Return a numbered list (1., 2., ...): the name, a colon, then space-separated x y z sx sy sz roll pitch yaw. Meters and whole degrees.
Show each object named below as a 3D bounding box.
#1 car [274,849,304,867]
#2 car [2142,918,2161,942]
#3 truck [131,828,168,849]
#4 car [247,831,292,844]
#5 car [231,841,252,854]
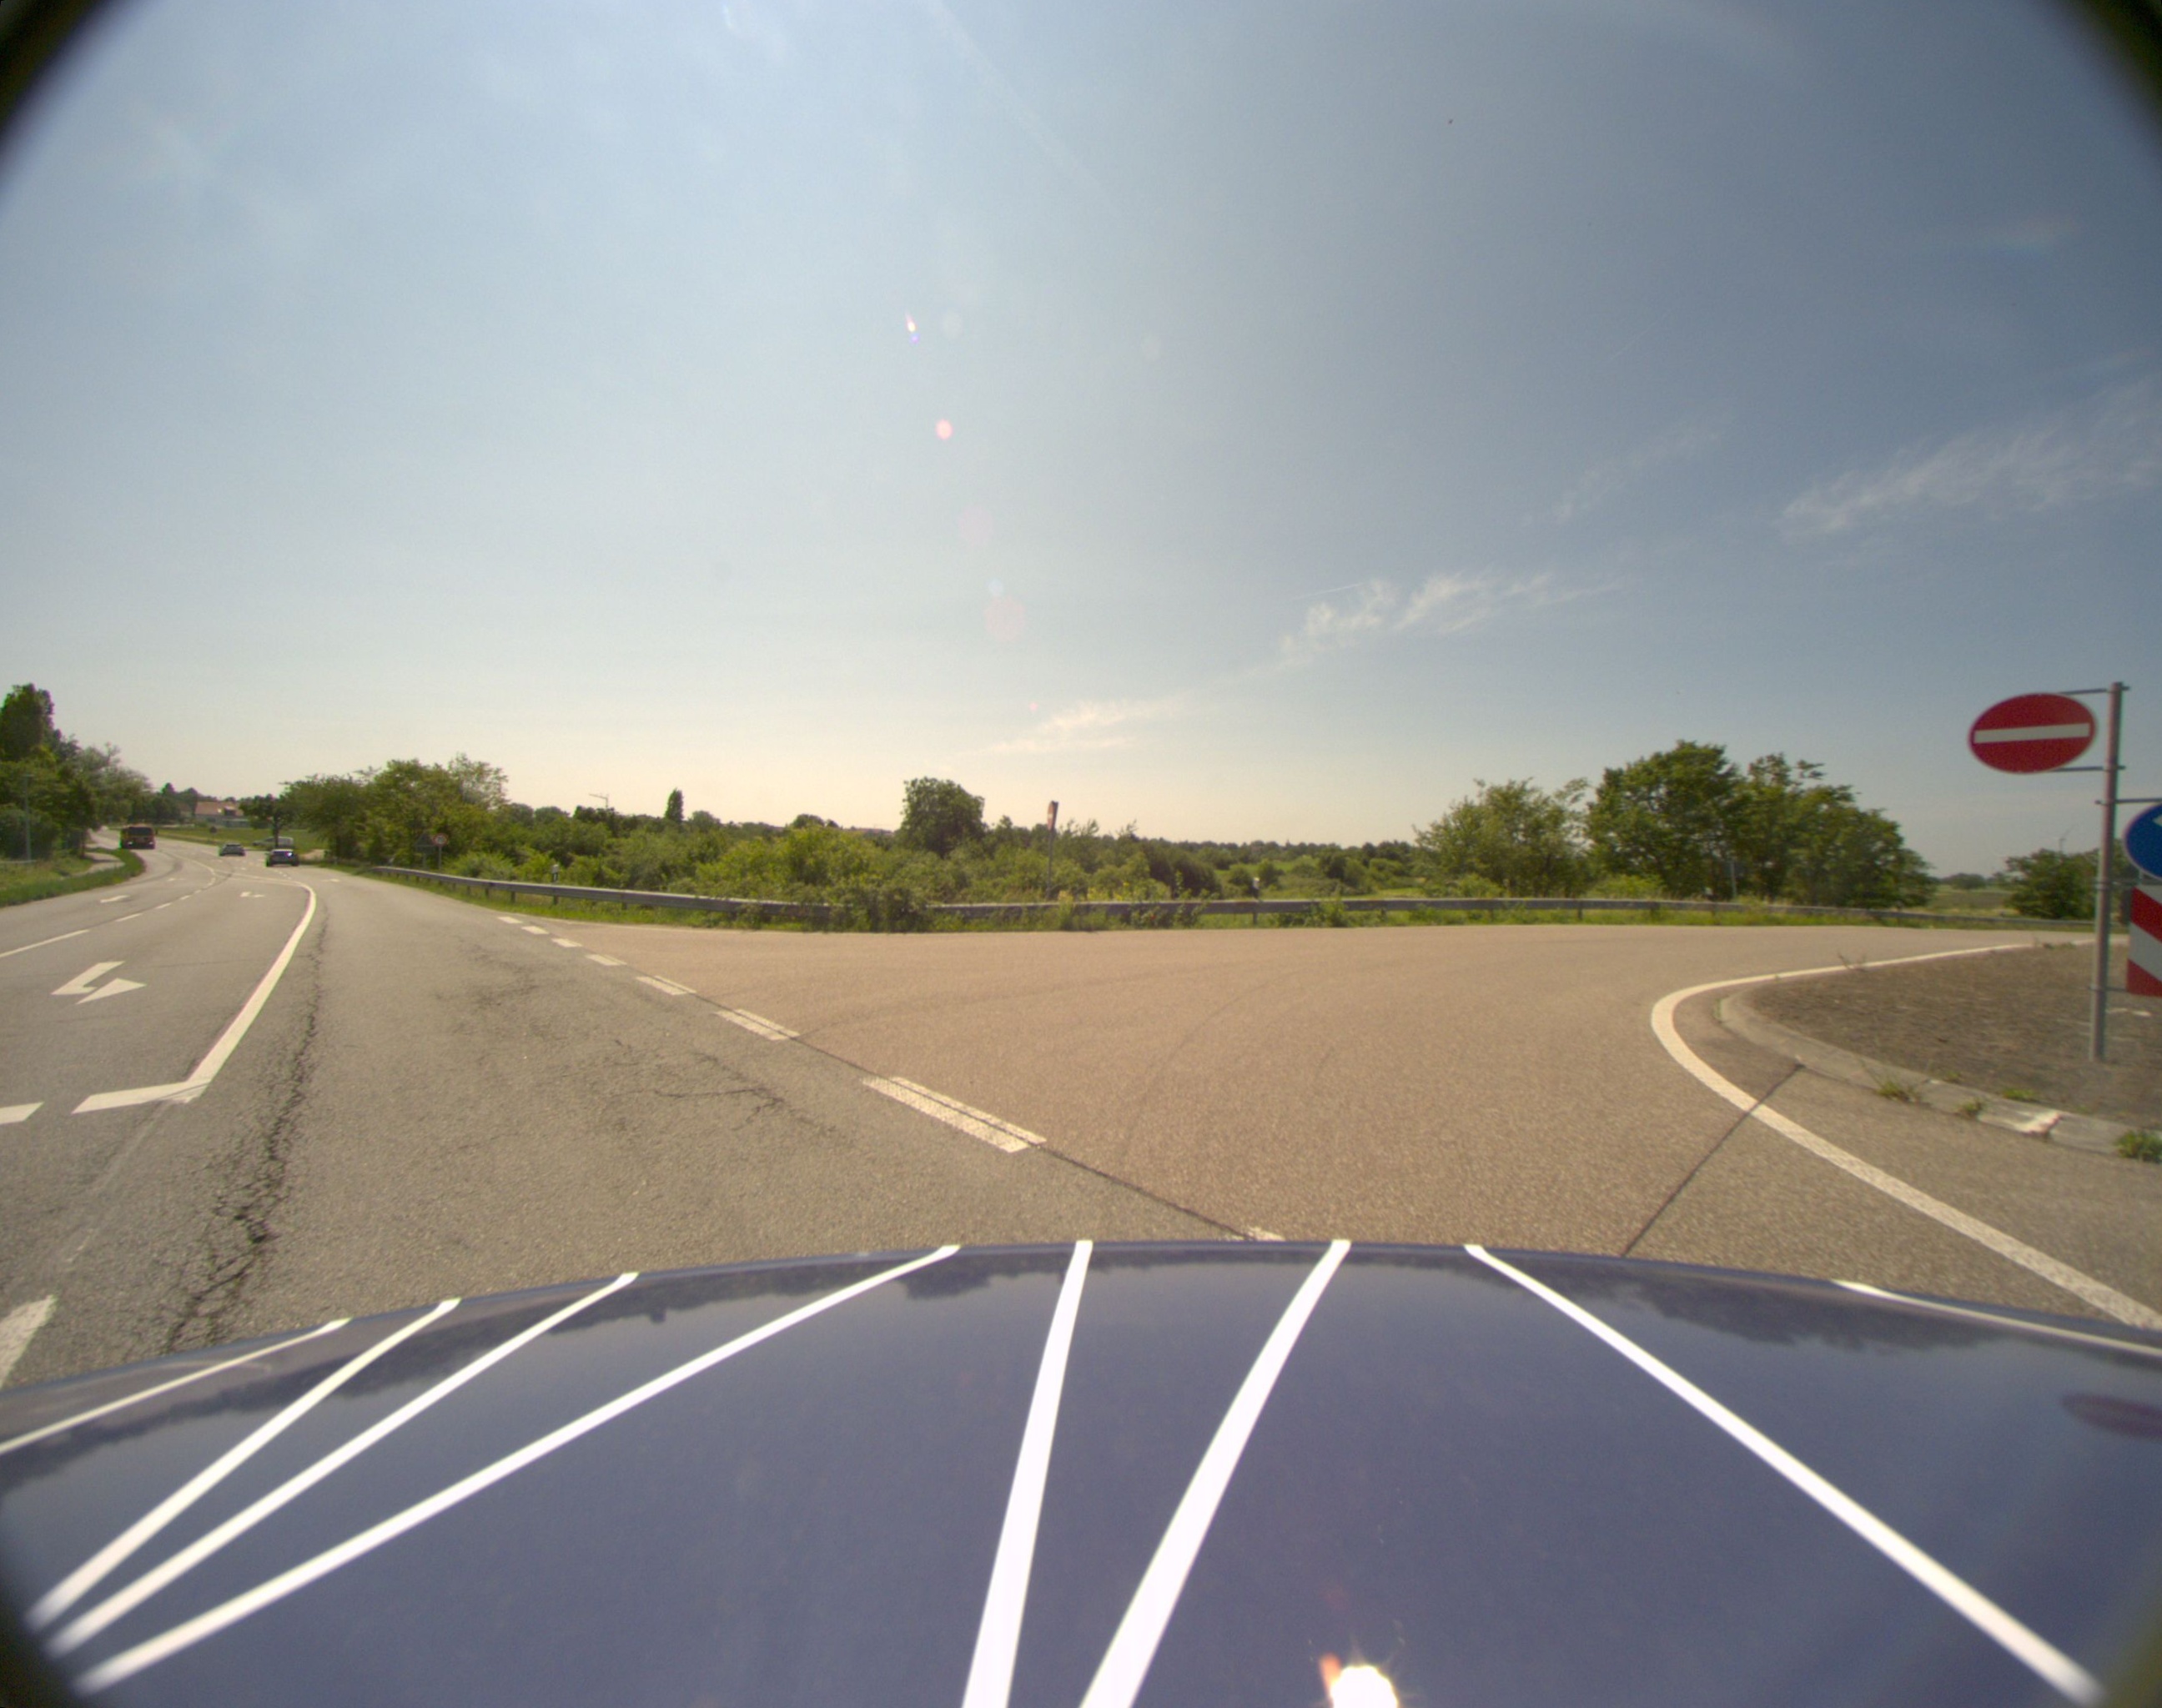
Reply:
1. car: -73.941 0.381 70.977 4.478 1.574 1.802 0 0 45
2. car: 67.424 4.774 46.869 3.894 1.387 1.709 4 1 -28
3. truck: -126.548 -2.157 103.236 6.937 2.771 2.869 2 1 37
4. car: -127.686 -2.527 119.650 4.423 2.002 1.995 0 1 -32
5. car: -102.616 -0.762 92.928 3.658 1.564 1.530 0 1 45
